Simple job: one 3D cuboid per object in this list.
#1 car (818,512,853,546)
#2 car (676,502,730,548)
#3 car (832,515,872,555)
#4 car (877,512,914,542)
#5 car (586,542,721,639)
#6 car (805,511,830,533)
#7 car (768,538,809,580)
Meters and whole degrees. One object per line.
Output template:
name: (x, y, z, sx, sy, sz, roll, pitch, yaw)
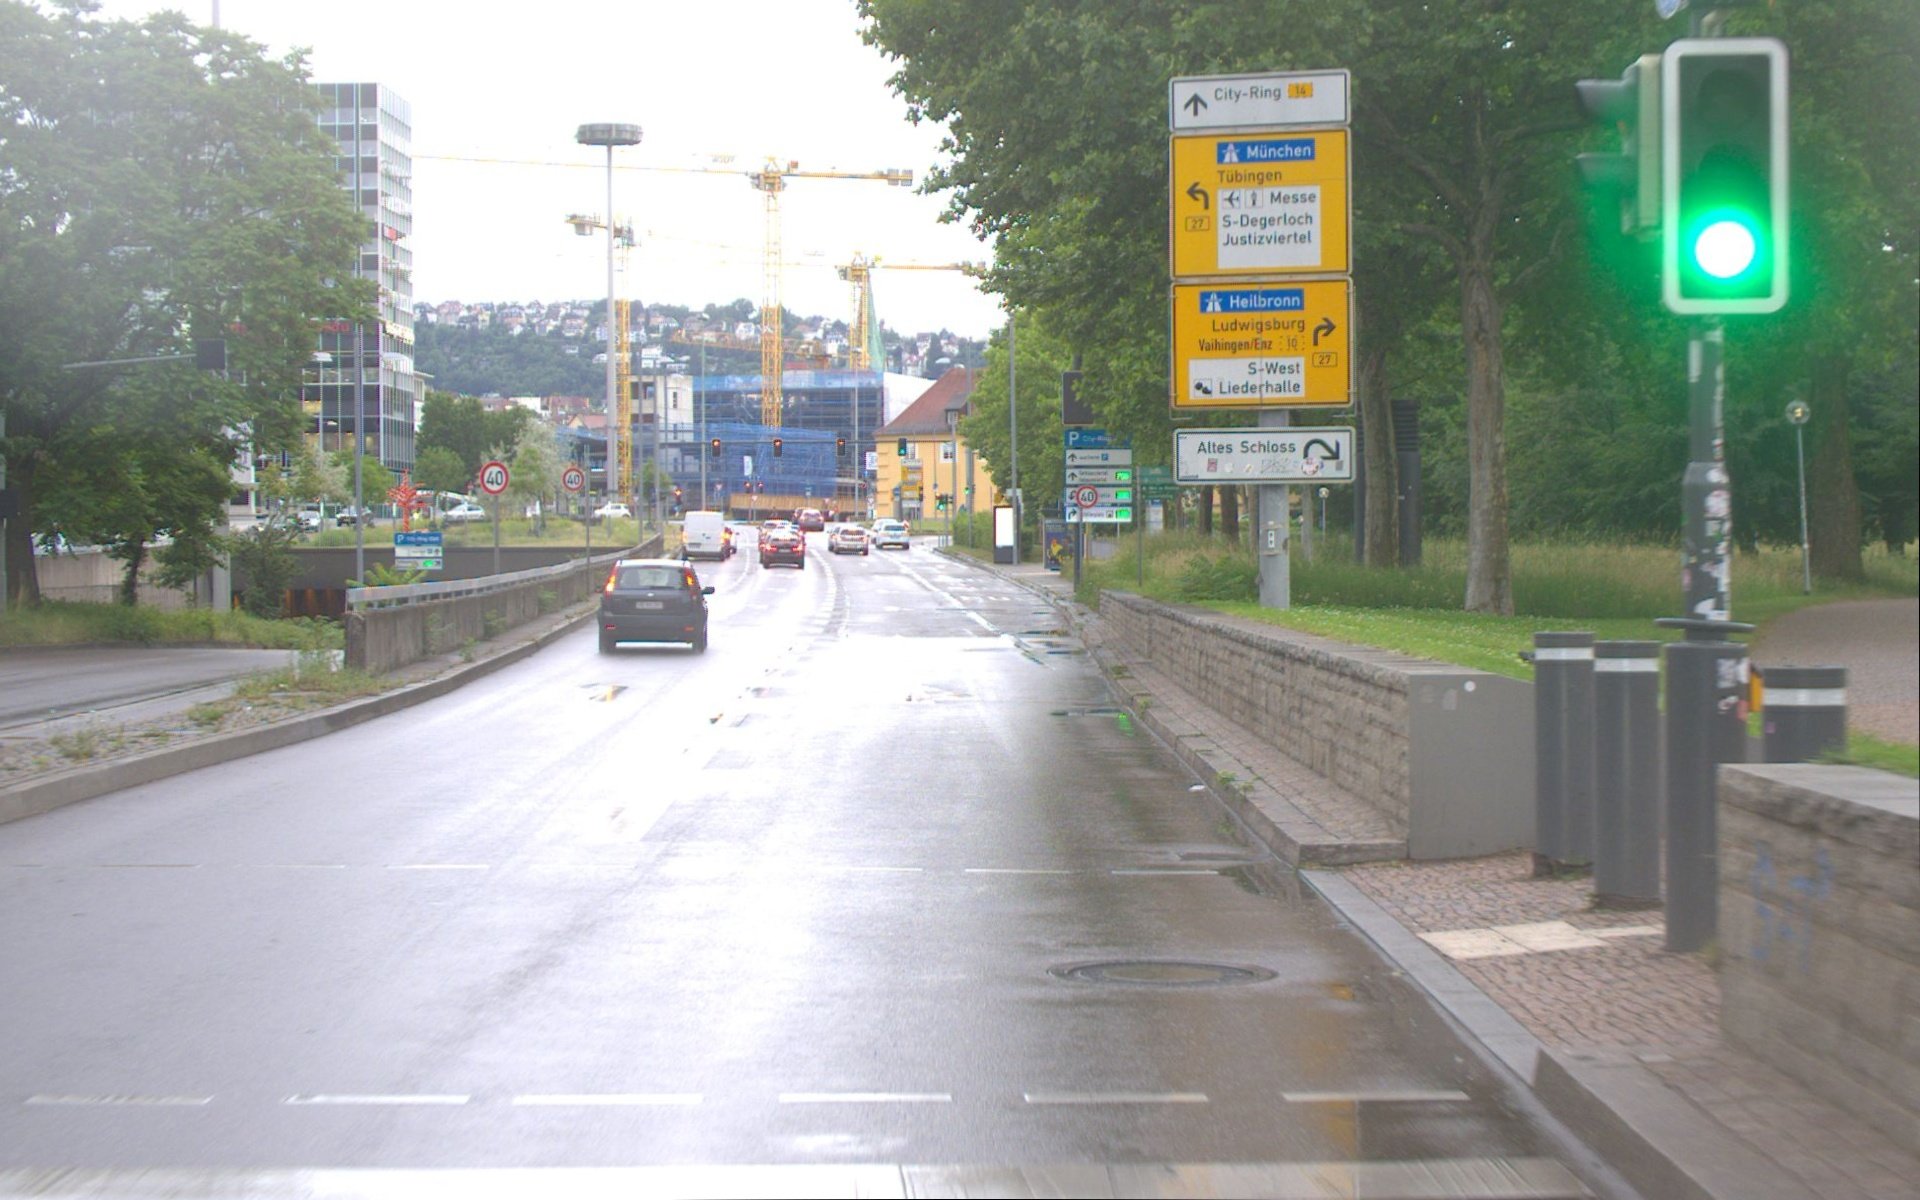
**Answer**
car: (-6.781, -3.856, 187.294, 1.713, 1.684, 3.849, -2, 0, 0)
car: (-12.150, -3.539, 162.628, 2.219, 2.007, 4.000, -2, 0, 0)
car: (-5.712, -3.421, 181.805, 1.987, 2.007, 4.000, -2, 0, -3)
car: (-3.667, -4.179, 196.273, 1.993, 1.594, 4.000, -2, 0, 0)
car: (-4.845, -0.137, 53.914, 1.843, 1.411, 3.840, -2, 0, -8)
car: (-10.288, -5.622, 248.343, 1.721, 1.552, 3.584, 0, 1, 0)
car: (-7.607, -1.823, 152.593, 1.739, 1.765, 4.000, -2, 0, -3)
